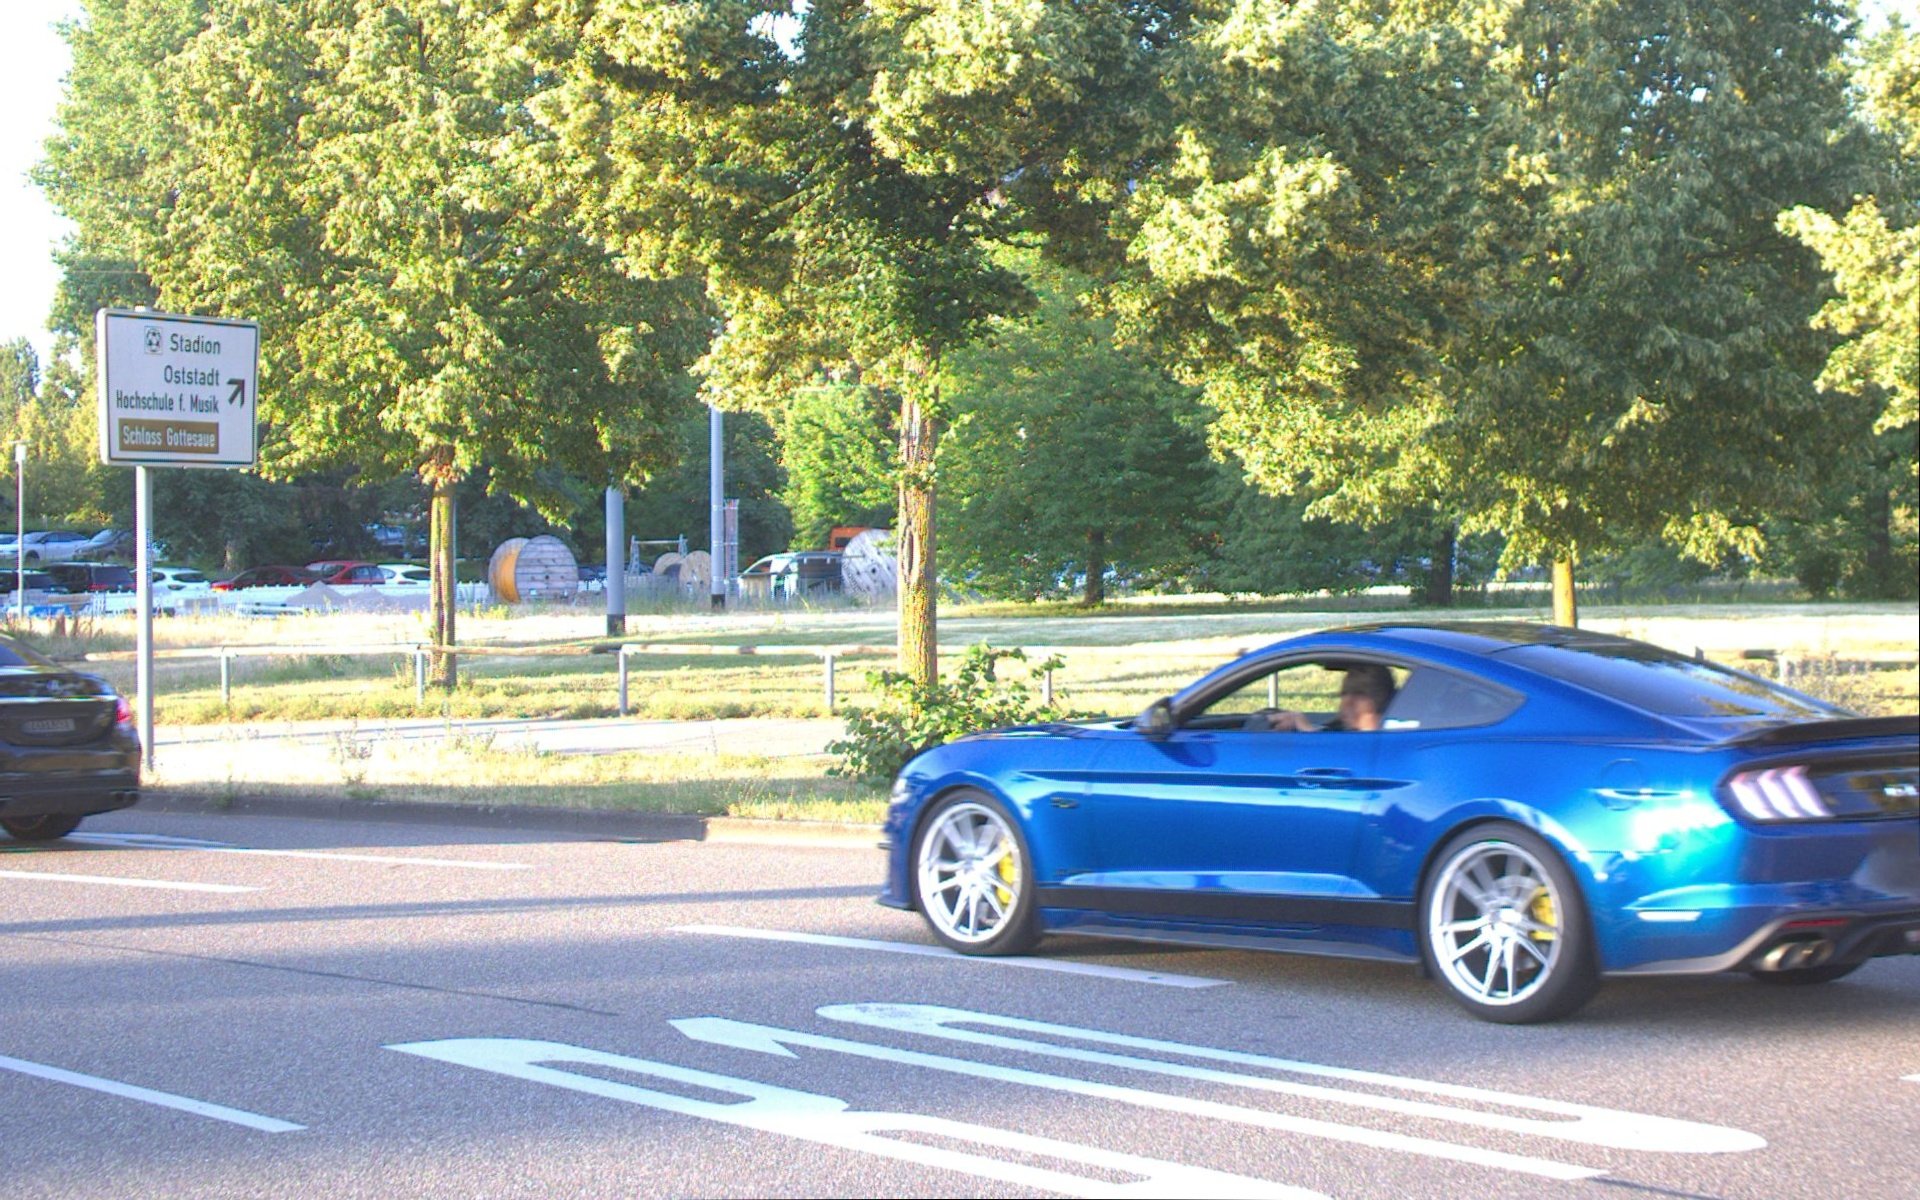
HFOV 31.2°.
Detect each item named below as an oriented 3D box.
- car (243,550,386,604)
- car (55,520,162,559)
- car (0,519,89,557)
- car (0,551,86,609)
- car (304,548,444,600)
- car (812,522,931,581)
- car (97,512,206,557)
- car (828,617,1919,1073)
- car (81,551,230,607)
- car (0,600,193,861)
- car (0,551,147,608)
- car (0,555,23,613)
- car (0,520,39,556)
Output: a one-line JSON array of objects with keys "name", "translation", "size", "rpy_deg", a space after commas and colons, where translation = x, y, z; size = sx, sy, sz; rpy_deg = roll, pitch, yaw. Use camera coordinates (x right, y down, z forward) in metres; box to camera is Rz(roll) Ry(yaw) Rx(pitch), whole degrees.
[{"name": "car", "translation": [-19.617, -0.697, 104.449], "size": [3.994, 1.548, 1.900], "rpy_deg": [0, 1, 32]}, {"name": "car", "translation": [-35.004, -2.510, 141.414], "size": [1.901, 1.548, 3.992], "rpy_deg": [0, 1, 36]}, {"name": "car", "translation": [-38.772, -2.609, 144.305], "size": [1.901, 1.548, 3.992], "rpy_deg": [0, 1, 36]}, {"name": "car", "translation": [-26.195, -0.546, 94.584], "size": [3.994, 1.548, 1.900], "rpy_deg": [0, 1, 32]}, {"name": "car", "translation": [-18.100, -0.798, 106.226], "size": [3.994, 1.548, 1.900], "rpy_deg": [0, 1, 32]}, {"name": "car", "translation": [-3.272, -1.794, 127.090], "size": [3.994, 2.088, 1.900], "rpy_deg": [0, 1, 32]}, {"name": "car", "translation": [-32.856, -2.639, 139.723], "size": [1.997, 1.739, 3.992], "rpy_deg": [1, 0, 35]}, {"name": "car", "translation": [1.751, 0.771, 13.052], "size": [1.952, 1.337, 4.668], "rpy_deg": [0, 1, -42]}, {"name": "car", "translation": [-23.183, -0.601, 99.021], "size": [3.994, 1.548, 1.900], "rpy_deg": [0, 1, 32]}, {"name": "car", "translation": [-6.860, 0.706, 20.464], "size": [4.423, 1.422, 1.954], "rpy_deg": [0, 0, 33]}, {"name": "car", "translation": [-25.009, -0.577, 96.667], "size": [3.994, 1.548, 1.900], "rpy_deg": [0, 1, 32]}, {"name": "car", "translation": [-27.524, -0.416, 92.989], "size": [4.093, 1.548, 1.900], "rpy_deg": [0, 1, 32]}, {"name": "car", "translation": [-41.421, -2.626, 146.243], "size": [1.901, 1.548, 3.992], "rpy_deg": [0, 1, 36]}]
